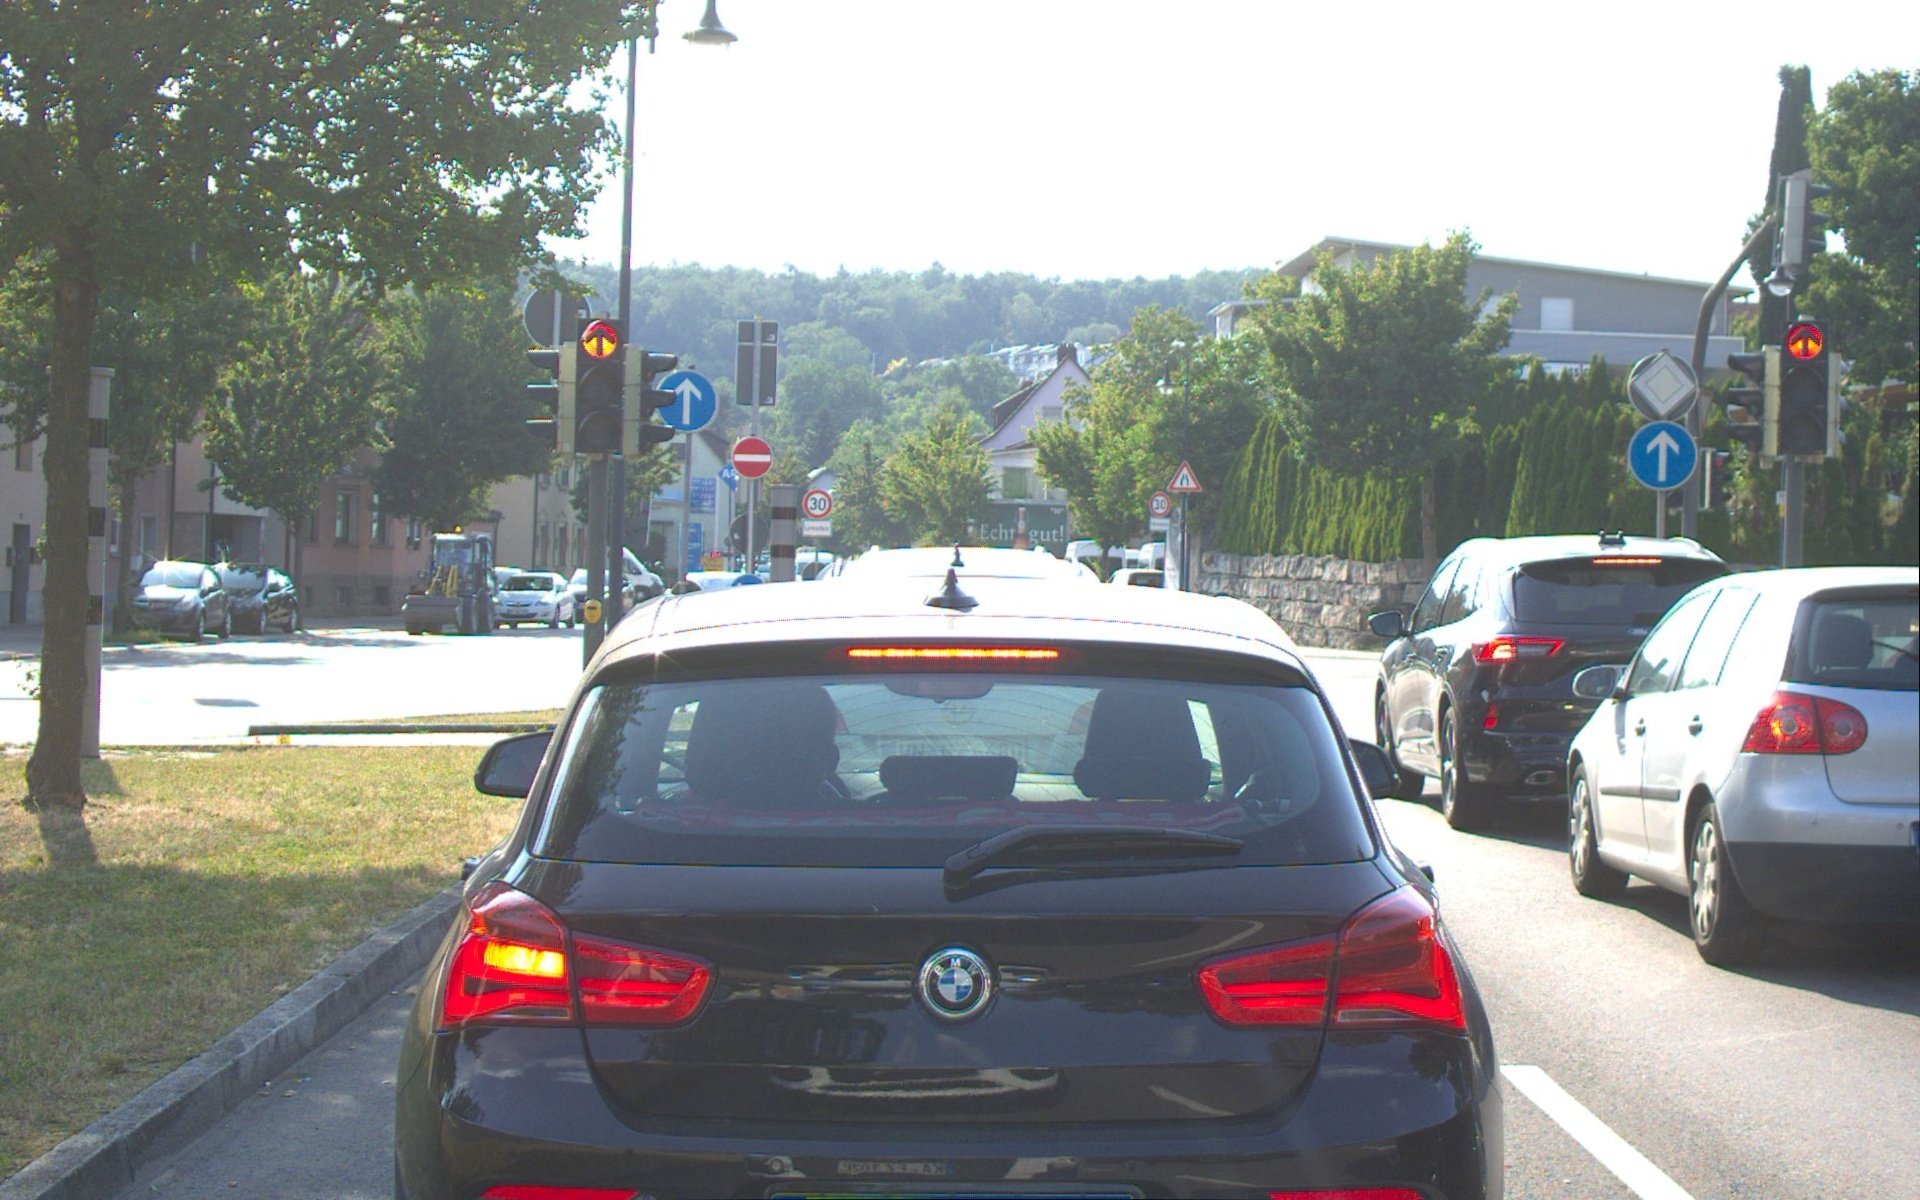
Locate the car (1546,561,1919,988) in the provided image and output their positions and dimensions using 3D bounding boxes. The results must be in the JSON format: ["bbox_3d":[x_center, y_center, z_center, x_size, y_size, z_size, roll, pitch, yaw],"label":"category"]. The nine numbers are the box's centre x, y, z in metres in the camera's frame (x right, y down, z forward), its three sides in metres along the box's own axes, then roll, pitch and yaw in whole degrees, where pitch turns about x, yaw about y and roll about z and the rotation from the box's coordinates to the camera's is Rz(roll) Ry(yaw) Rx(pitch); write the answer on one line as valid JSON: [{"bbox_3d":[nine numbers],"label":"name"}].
[{"bbox_3d":[3.560,0.576,13.731,1.761,1.421,3.903,-1,1,0],"label":"car"}]

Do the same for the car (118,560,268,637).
[{"bbox_3d":[-14.933,-0.056,67.142,1.737,1.296,4.000,5,1,3],"label":"car"}]

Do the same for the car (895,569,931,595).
[{"bbox_3d":[-2.628,-1.010,194.407,1.737,1.296,3.799,5,1,2],"label":"car"}]

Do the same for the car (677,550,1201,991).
[{"bbox_3d":[-0.069,0.558,13.993,1.788,1.488,4.281,-1,1,0],"label":"car"}]

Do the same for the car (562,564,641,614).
[{"bbox_3d":[-10.792,-0.344,103.806,1.737,1.296,3.799,5,1,2],"label":"car"}]

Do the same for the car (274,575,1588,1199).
[{"bbox_3d":[-0.033,0.678,6.848,1.788,1.393,4.281,-1,1,0],"label":"car"}]

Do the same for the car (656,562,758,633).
[{"bbox_3d":[-5.559,-0.071,75.897,1.839,1.477,4.000,1,1,2],"label":"car"}]

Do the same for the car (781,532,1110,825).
[{"bbox_3d":[-0.076,0.394,21.033,1.788,1.588,4.281,-1,1,0],"label":"car"}]

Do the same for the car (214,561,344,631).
[{"bbox_3d":[-14.511,-0.113,73.417,1.737,1.296,4.000,5,1,2],"label":"car"}]

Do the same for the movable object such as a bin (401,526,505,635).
[{"bbox_3d":[-11.729,-0.469,79.772,1.736,2.433,4.450,0,1,0],"label":"movable object such as a bin"}]

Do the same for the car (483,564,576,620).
[{"bbox_3d":[-11.340,-0.224,90.804,1.737,1.296,3.799,5,1,2],"label":"car"}]

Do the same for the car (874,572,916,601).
[{"bbox_3d":[-3.235,-0.676,170.788,1.737,1.296,3.799,5,1,2],"label":"car"}]

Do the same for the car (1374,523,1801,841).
[{"bbox_3d":[3.533,0.399,20.013,1.761,1.650,3.903,-1,1,0],"label":"car"}]

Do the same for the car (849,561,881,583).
[{"bbox_3d":[-6.350,-1.881,230.289,1.737,1.296,3.799,5,1,2],"label":"car"}]
